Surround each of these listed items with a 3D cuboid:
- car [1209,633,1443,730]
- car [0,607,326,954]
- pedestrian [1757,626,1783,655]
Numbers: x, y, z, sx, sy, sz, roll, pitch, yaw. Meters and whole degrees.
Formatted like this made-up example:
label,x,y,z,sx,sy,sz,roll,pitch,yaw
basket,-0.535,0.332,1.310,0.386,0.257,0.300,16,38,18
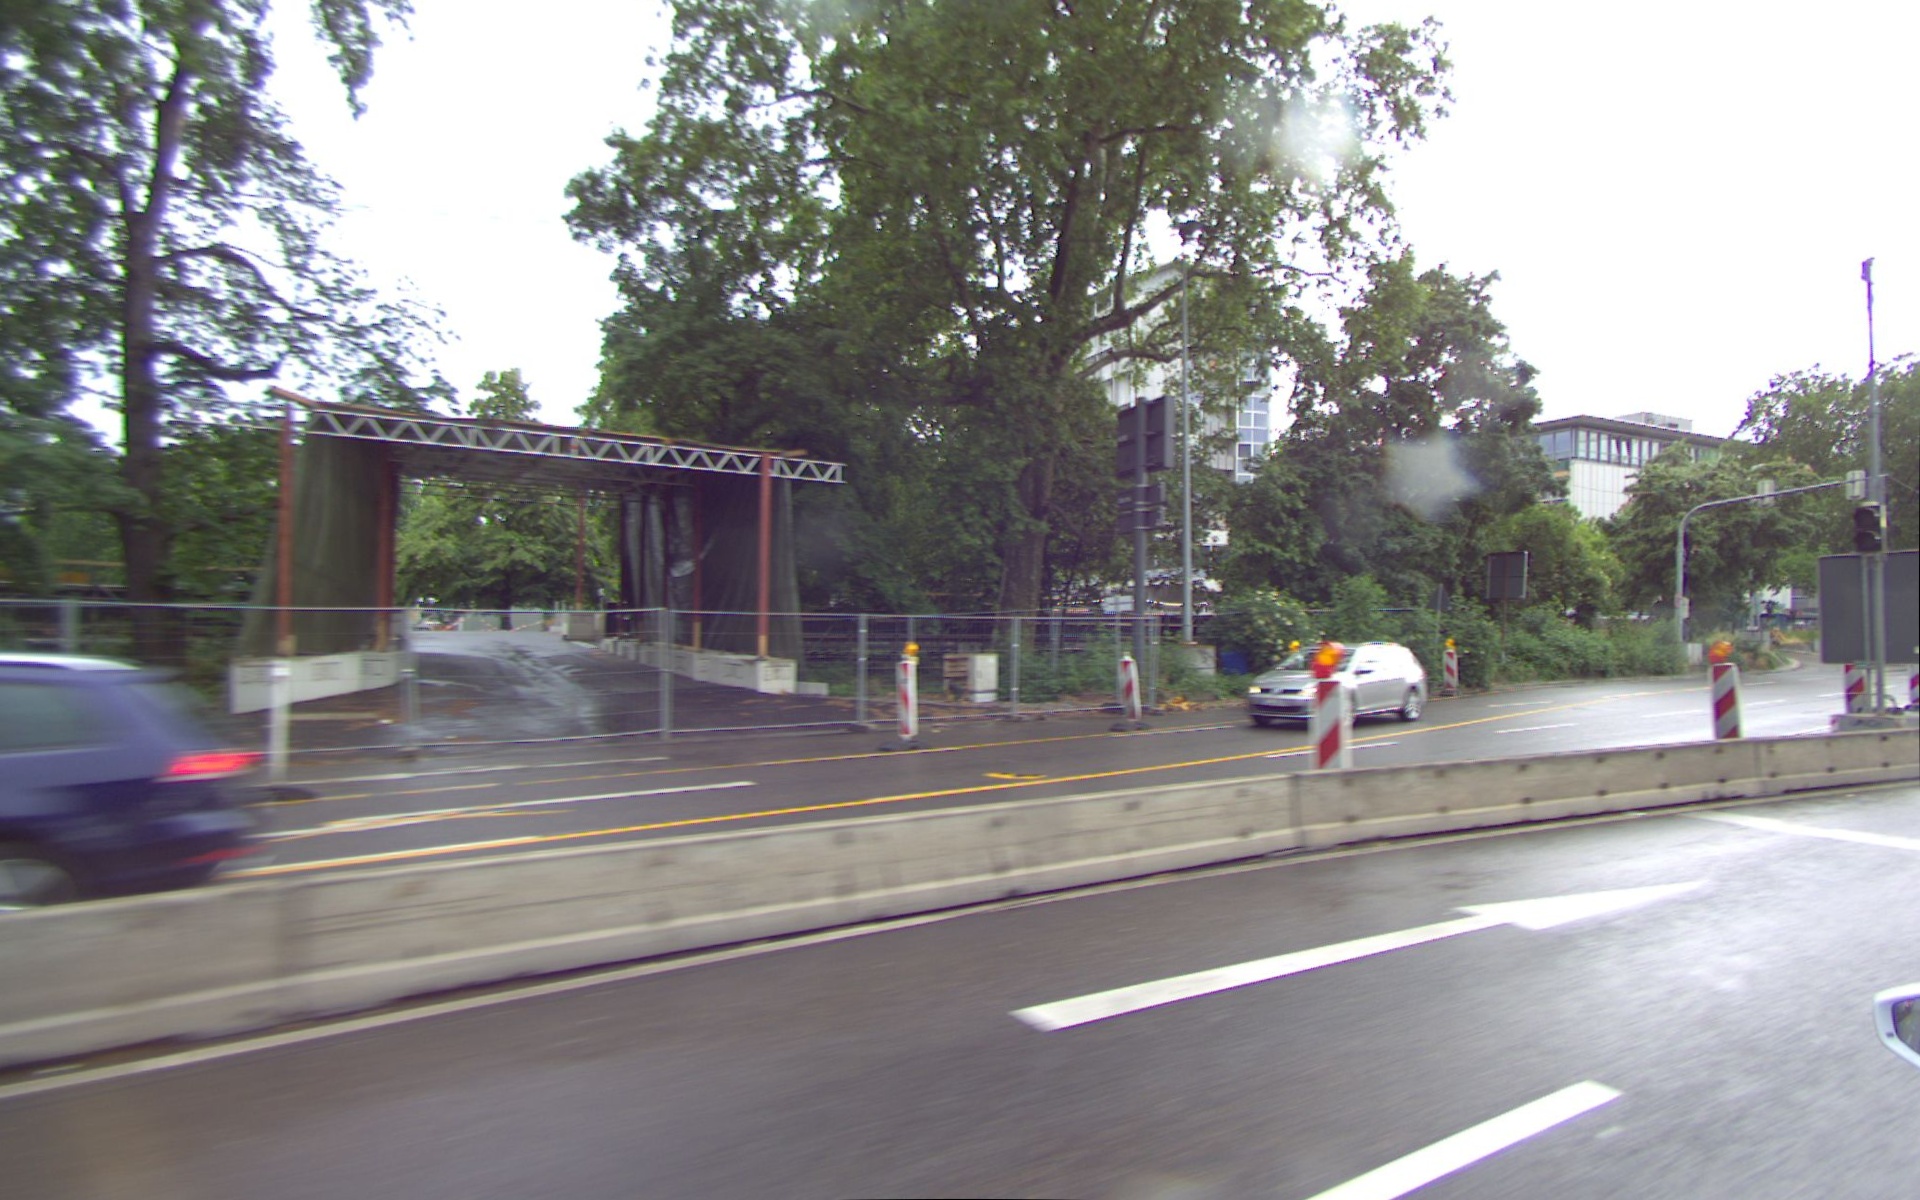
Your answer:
label,x,y,z,sx,sy,sz,roll,pitch,yaw
car,6.782,1.508,18.453,4.405,1.561,1.980,5,-5,-37
car,-5.766,0.783,4.711,4.538,1.561,1.980,5,-5,-37
pedestrian,45.412,2.280,56.317,1.095,1.577,0.587,3,-4,-15
